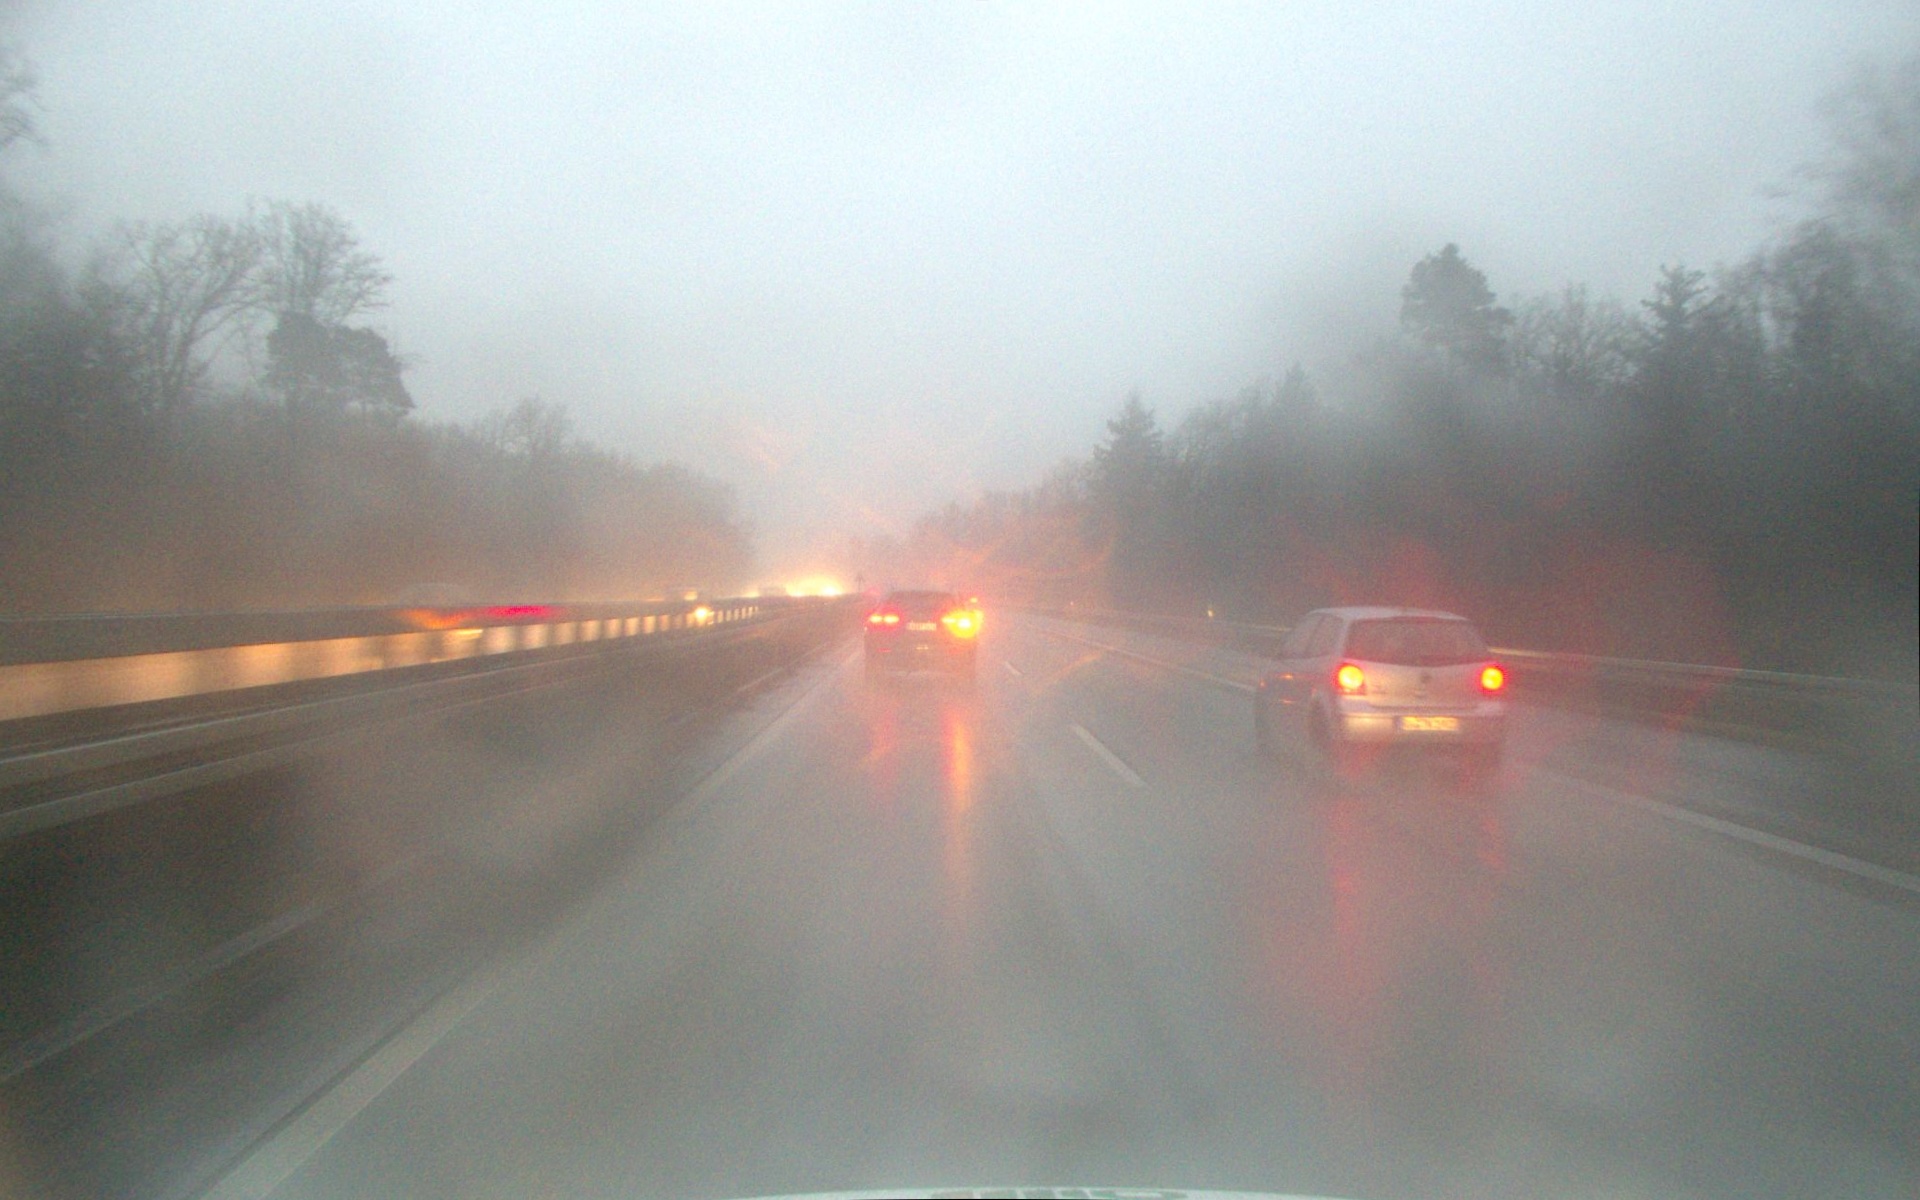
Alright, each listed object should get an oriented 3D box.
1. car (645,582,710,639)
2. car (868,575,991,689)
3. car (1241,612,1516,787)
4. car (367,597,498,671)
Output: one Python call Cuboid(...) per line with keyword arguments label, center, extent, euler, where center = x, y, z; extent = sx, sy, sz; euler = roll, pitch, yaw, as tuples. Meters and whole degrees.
Cuboid(label="car", center=(-8.651, 0.298, 50.882), extent=(1.437, 1.685, 3.638), euler=(1, 0, -1))
Cuboid(label="car", center=(-0.566, 0.495, 28.559), extent=(1.946, 1.798, 4.171), euler=(1, 0, -2))
Cuboid(label="car", center=(3.949, 0.880, 16.186), extent=(1.744, 1.462, 3.536), euler=(1, 0, -1))
Cuboid(label="car", center=(-11.436, 0.741, 36.121), extent=(1.705, 1.443, 3.702), euler=(3, -1, -2))
